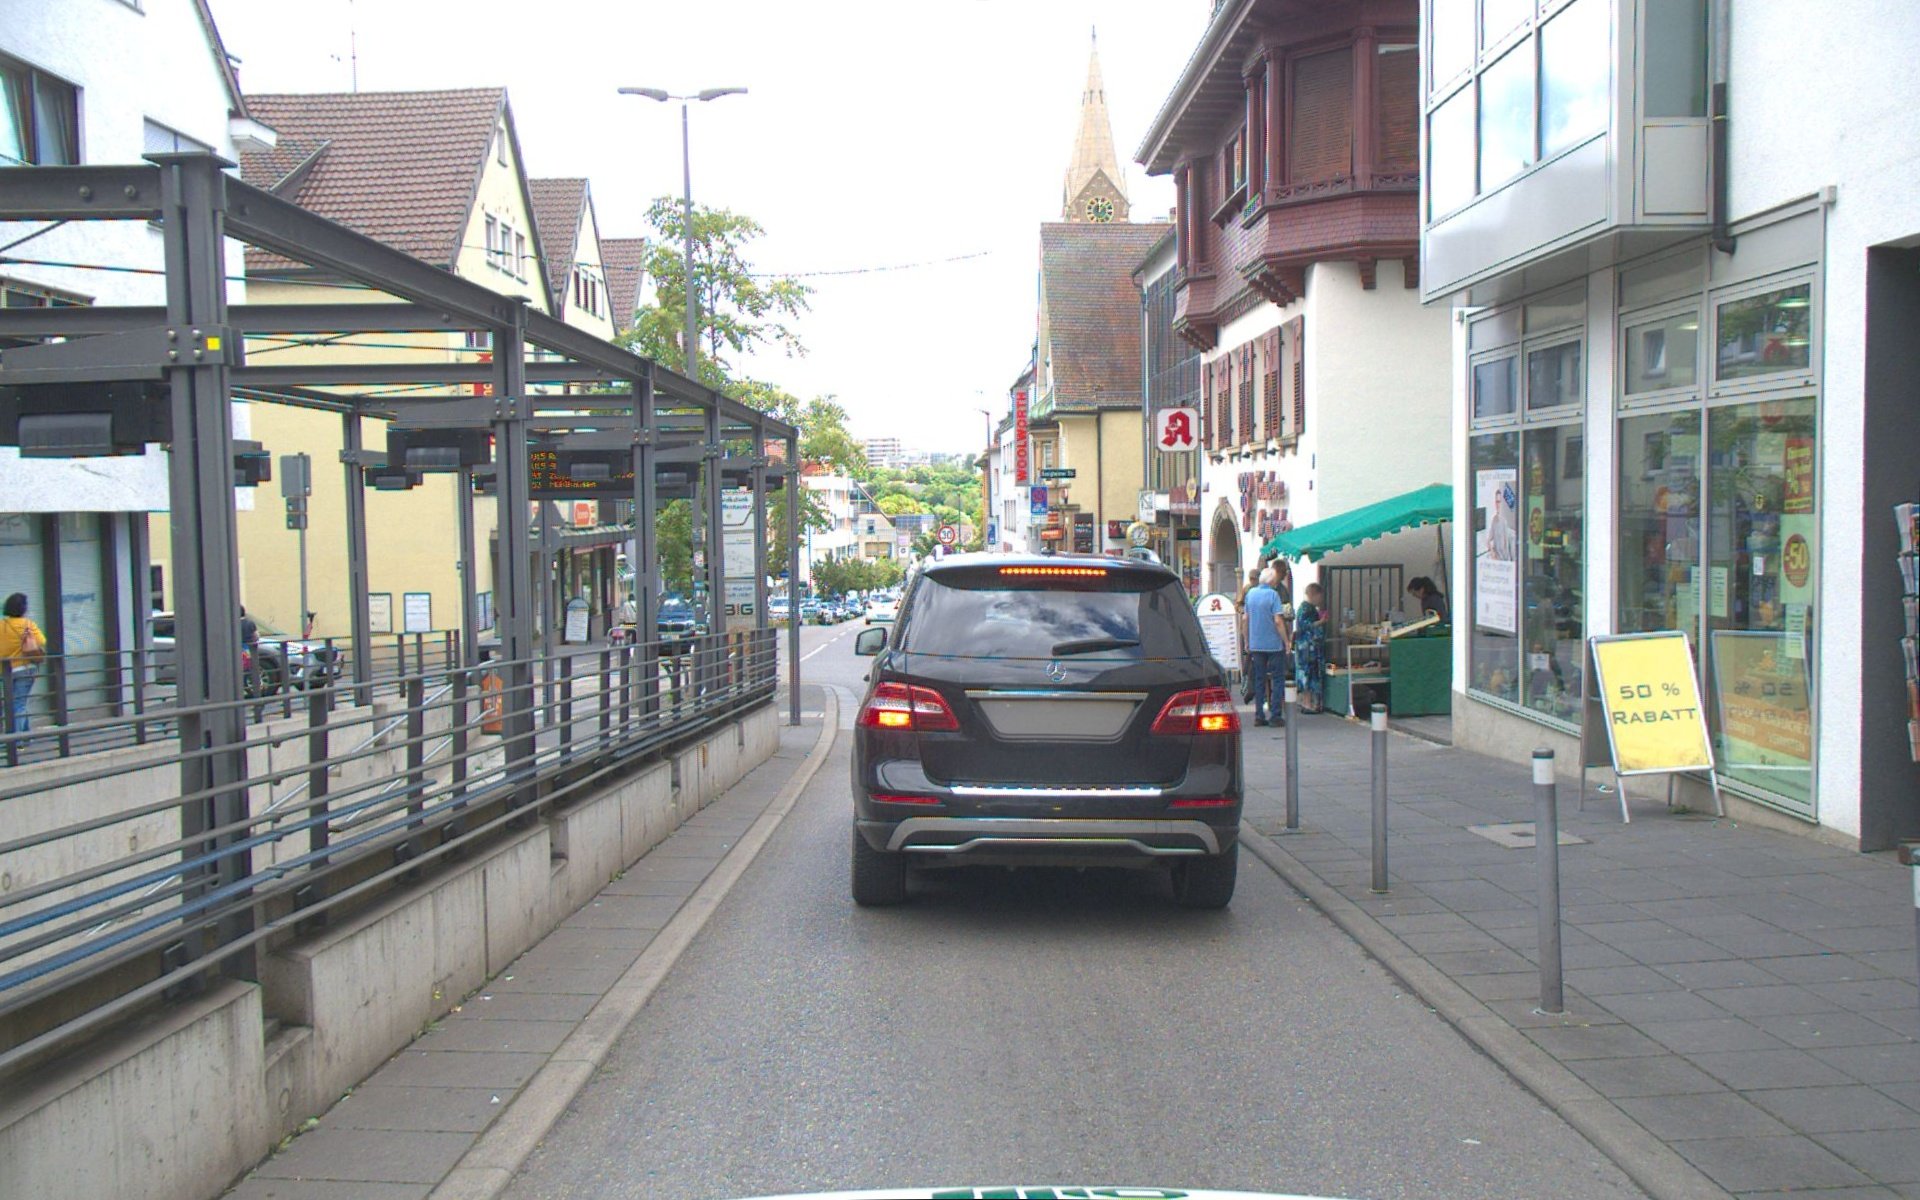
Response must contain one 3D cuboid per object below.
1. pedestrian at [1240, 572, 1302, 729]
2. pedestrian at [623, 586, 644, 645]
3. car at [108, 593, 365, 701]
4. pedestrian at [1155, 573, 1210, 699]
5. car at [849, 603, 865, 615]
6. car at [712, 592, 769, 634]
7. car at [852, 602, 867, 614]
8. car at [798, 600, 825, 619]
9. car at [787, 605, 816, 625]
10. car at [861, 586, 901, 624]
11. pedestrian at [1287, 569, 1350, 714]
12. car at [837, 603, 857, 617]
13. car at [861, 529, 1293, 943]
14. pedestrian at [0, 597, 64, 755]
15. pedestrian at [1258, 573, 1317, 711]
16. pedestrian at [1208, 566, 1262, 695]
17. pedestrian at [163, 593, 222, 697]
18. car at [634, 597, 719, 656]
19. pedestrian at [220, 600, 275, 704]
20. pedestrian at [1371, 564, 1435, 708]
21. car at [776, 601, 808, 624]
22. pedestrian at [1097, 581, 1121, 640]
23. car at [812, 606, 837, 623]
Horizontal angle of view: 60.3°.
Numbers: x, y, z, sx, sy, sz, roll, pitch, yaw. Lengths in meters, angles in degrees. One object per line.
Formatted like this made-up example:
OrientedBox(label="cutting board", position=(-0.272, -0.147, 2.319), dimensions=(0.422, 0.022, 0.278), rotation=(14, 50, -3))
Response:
OrientedBox(label="pedestrian", position=(3.544, 0.563, 18.886), dimensions=(0.531, 1.756, 0.527), rotation=(-1, 0, -7))
OrientedBox(label="pedestrian", position=(-9.609, 0.455, 48.721), dimensions=(0.502, 1.718, 0.541), rotation=(1, 0, -1))
OrientedBox(label="car", position=(-13.608, 0.846, 31.199), dimensions=(4.091, 1.761, 1.836), rotation=(3, 0, 12))
OrientedBox(label="pedestrian", position=(3.080, 0.497, 22.963), dimensions=(0.609, 1.718, 0.565), rotation=(1, 0, -7))
OrientedBox(label="car", position=(-9.884, 0.812, 158.766), dimensions=(1.360, 1.089, 3.112), rotation=(-1, 0, 0))
OrientedBox(label="car", position=(-8.248, 0.465, 62.444), dimensions=(1.626, 1.516, 3.747), rotation=(1, 0, 0))
OrientedBox(label="car", position=(-9.951, 0.782, 164.053), dimensions=(1.360, 1.089, 3.112), rotation=(-1, 0, 0))
OrientedBox(label="car", position=(-9.160, 0.589, 102.277), dimensions=(1.360, 1.089, 3.112), rotation=(-1, 0, 0))
OrientedBox(label="car", position=(-9.241, 0.839, 96.453), dimensions=(1.360, 1.089, 3.112), rotation=(-1, 0, 0))
OrientedBox(label="car", position=(-3.721, 0.214, 78.010), dimensions=(1.734, 1.743, 3.999), rotation=(1, 0, -1))
OrientedBox(label="pedestrian", position=(4.345, 0.490, 20.079), dimensions=(0.562, 1.718, 0.565), rotation=(-1, 0, -7))
OrientedBox(label="car", position=(-8.967, 0.778, 131.502), dimensions=(1.360, 1.089, 3.112), rotation=(-1, 0, 0))
OrientedBox(label="car", position=(0.437, 0.588, 9.191), dimensions=(1.862, 1.777, 3.998), rotation=(1, 0, -2))
OrientedBox(label="pedestrian", position=(-10.451, 0.834, 18.448), dimensions=(0.566, 1.718, 0.576), rotation=(1, 0, -1))
OrientedBox(label="pedestrian", position=(4.163, 0.526, 21.045), dimensions=(0.562, 1.718, 0.565), rotation=(1, 0, -7))
OrientedBox(label="pedestrian", position=(3.979, 0.434, 23.937), dimensions=(0.626, 1.841, 0.684), rotation=(1, 0, -2))
OrientedBox(label="pedestrian", position=(-12.902, 0.747, 27.820), dimensions=(0.639, 1.718, 0.730), rotation=(1, 0, -3))
OrientedBox(label="car", position=(-7.724, 0.699, 45.401), dimensions=(1.655, 1.516, 3.979), rotation=(1, 0, 0))
OrientedBox(label="pedestrian", position=(-12.017, 0.871, 27.927), dimensions=(0.613, 1.718, 0.679), rotation=(1, 0, -1))
OrientedBox(label="pedestrian", position=(5.418, 0.429, 20.235), dimensions=(0.562, 1.718, 0.565), rotation=(-1, 0, -7))
OrientedBox(label="car", position=(-8.633, 0.634, 85.089), dimensions=(1.360, 1.089, 3.112), rotation=(-1, 0, 0))
OrientedBox(label="pedestrian", position=(4.363, 0.297, 48.539), dimensions=(0.594, 1.718, 0.724), rotation=(-1, 0, -1))
OrientedBox(label="car", position=(-9.022, 0.957, 110.274), dimensions=(1.360, 1.089, 3.112), rotation=(-1, 0, 0))
